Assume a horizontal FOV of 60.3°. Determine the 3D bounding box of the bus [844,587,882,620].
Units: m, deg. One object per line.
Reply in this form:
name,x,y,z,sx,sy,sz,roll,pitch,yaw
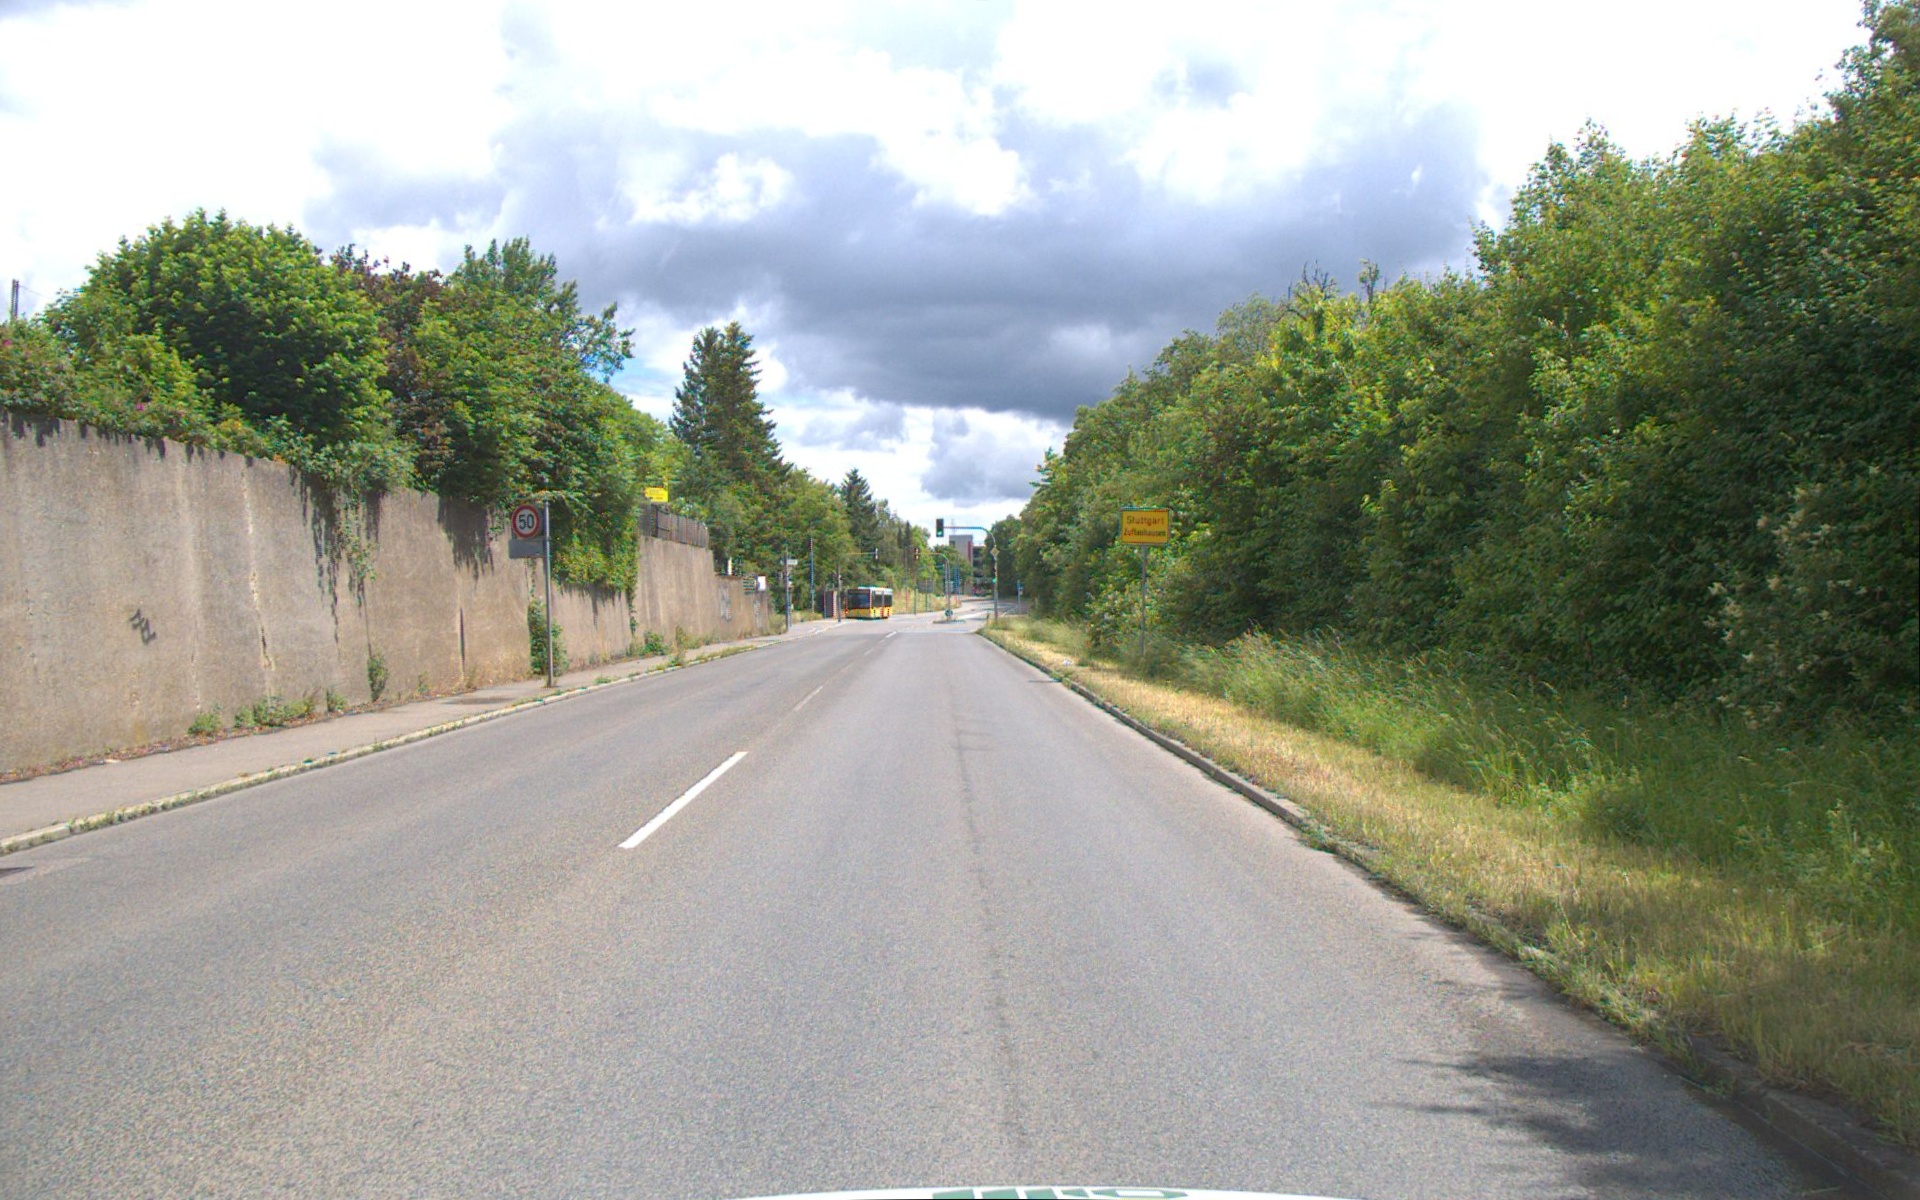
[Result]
bus,-9.289,0.272,158.961,2.834,2.949,7.670,1,1,2
